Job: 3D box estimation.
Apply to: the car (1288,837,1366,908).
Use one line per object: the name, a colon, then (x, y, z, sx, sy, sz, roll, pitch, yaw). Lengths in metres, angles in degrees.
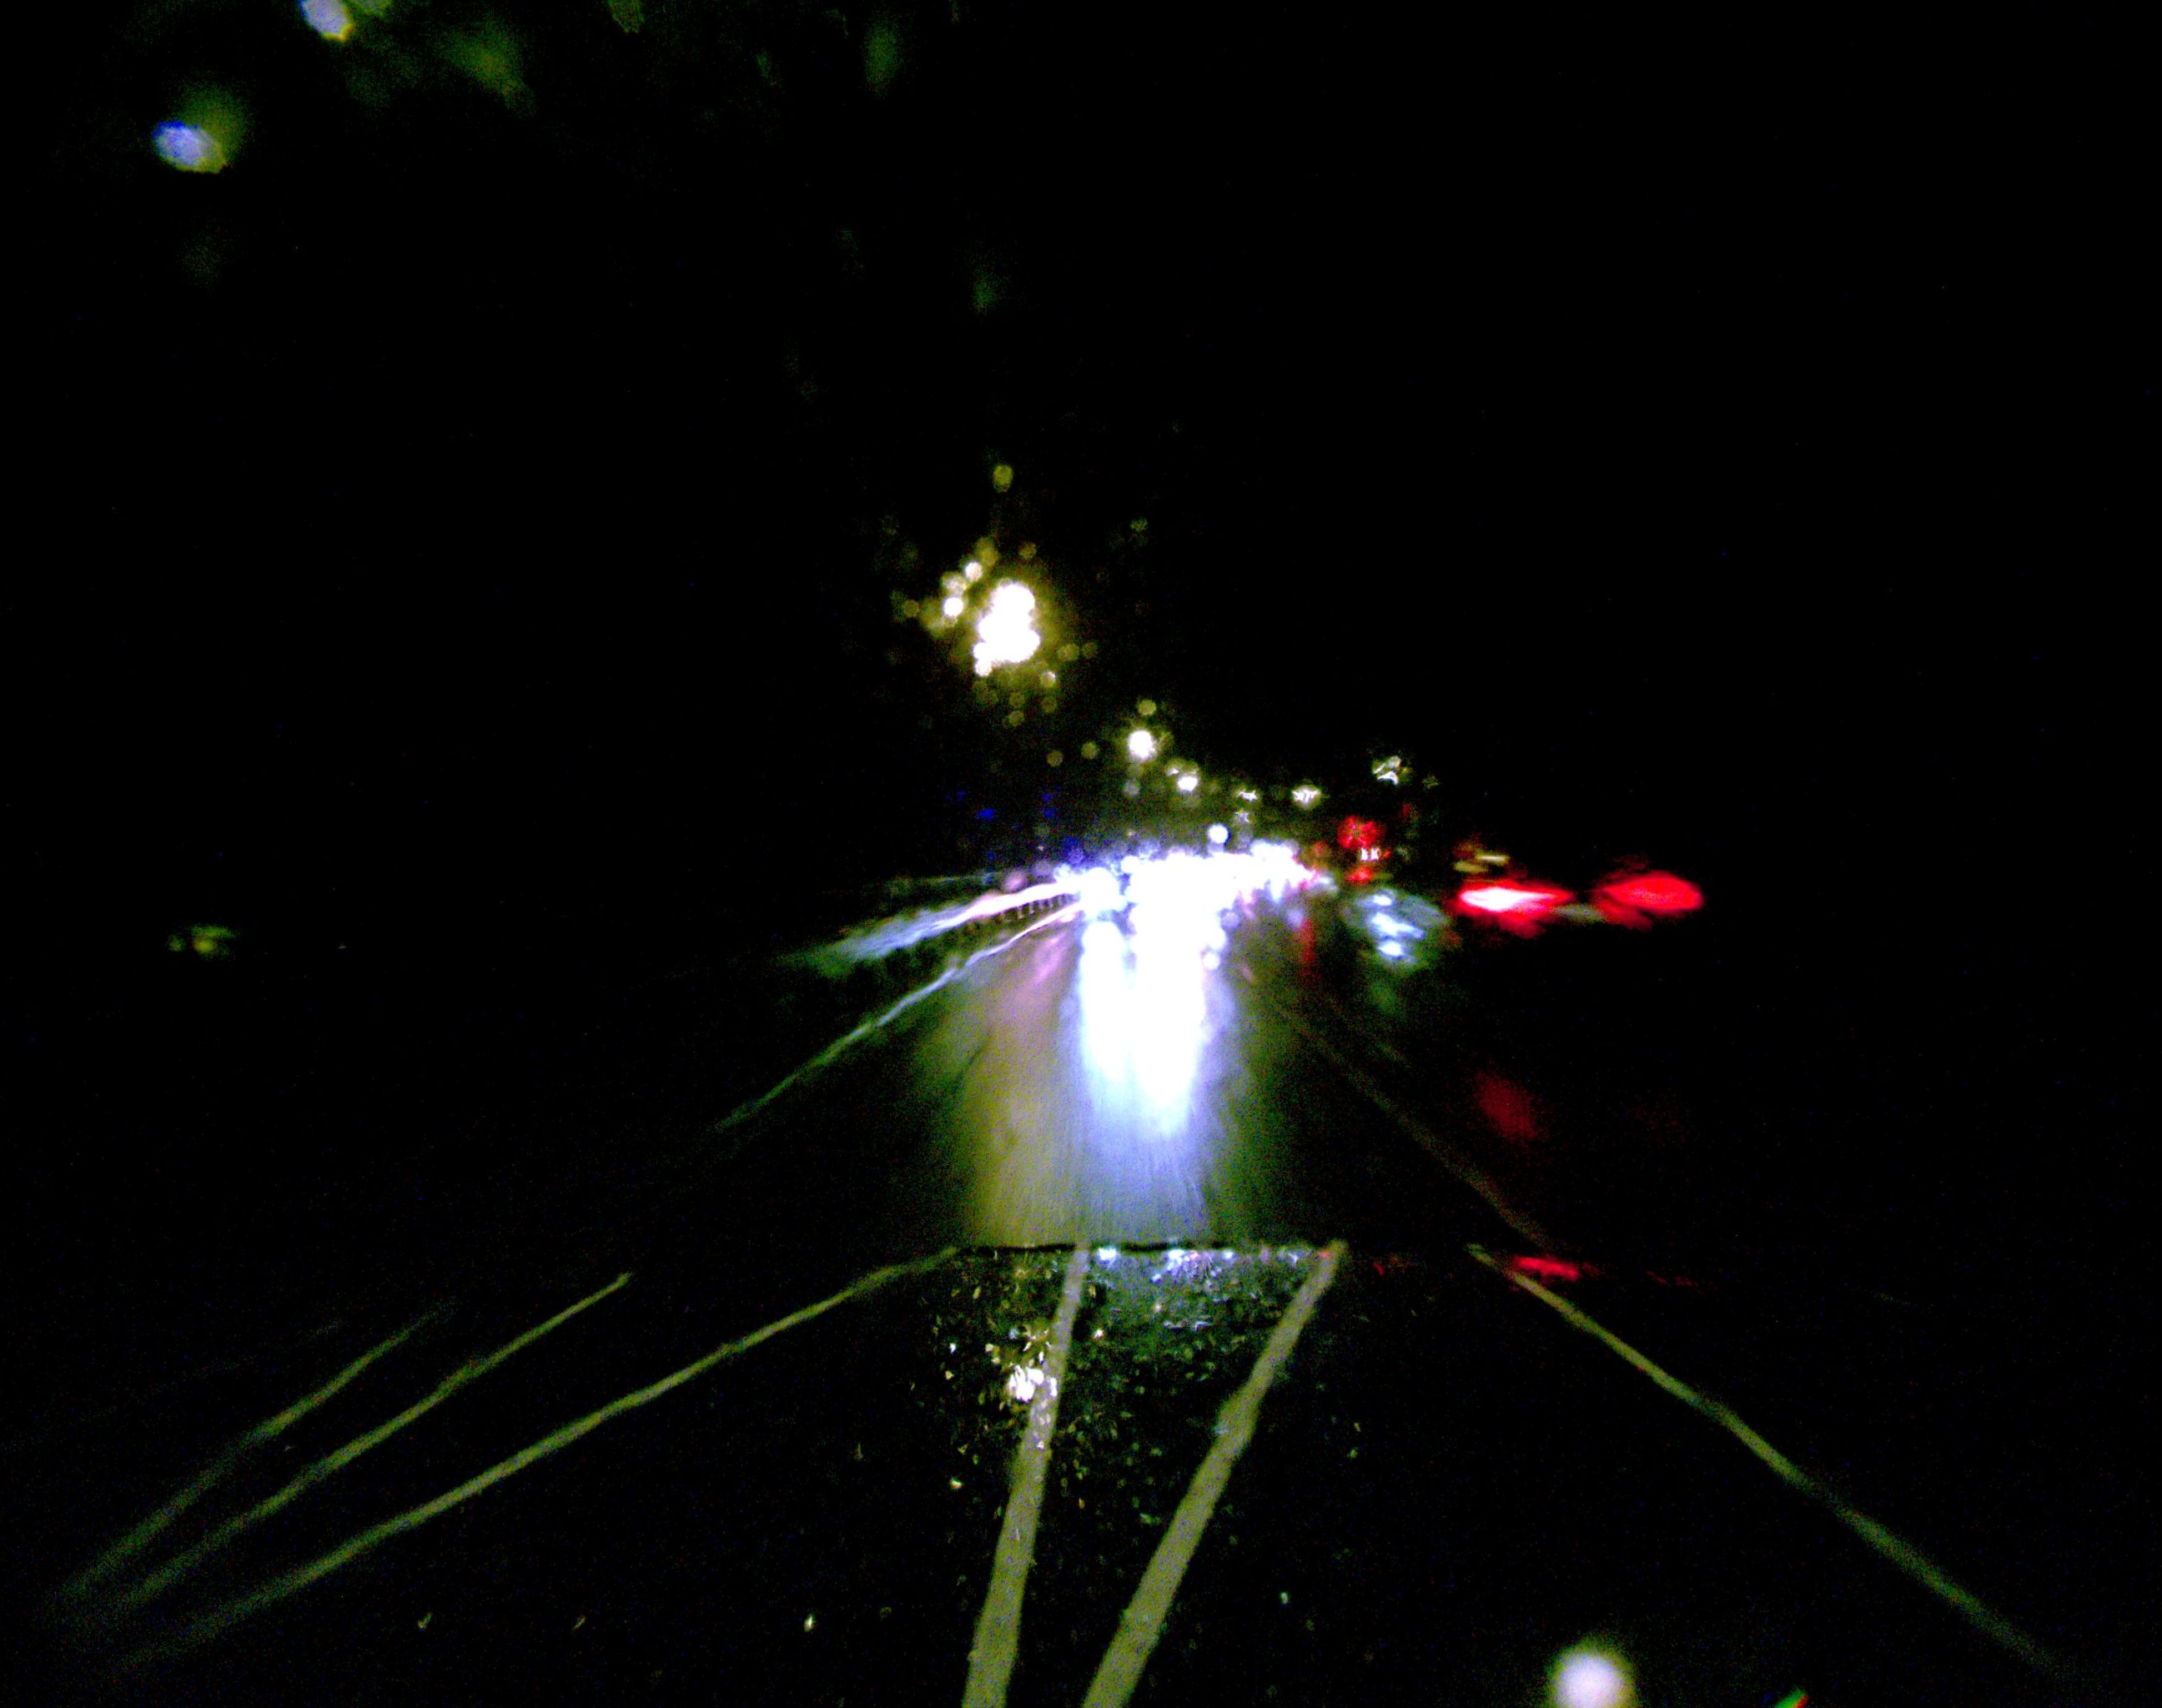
car: (6.988, 0.483, 21.935, 1.756, 1.850, 4.004, 0, 0, 12)

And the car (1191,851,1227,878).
car: (7.717, 0.608, 45.669, 1.520, 1.516, 3.111, -2, -1, 20)

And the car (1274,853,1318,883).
car: (10.645, 0.675, 37.835, 1.817, 1.396, 4.052, -1, 0, 12)

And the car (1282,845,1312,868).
car: (15.332, 0.157, 54.038, 1.685, 1.383, 4.454, -3, 1, 12)

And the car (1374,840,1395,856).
car: (31.556, -0.589, 78.992, 1.472, 1.575, 3.197, -2, -1, 32)

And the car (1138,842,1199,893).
car: (3.873, 0.521, 33.010, 1.996, 2.002, 4.004, -2, 1, 16)

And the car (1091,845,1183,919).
car: (1.576, 0.686, 19.698, 1.926, 1.704, 4.243, 0, -1, 10)

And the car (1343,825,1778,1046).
car: (4.614, 0.638, 8.470, 2.027, 1.709, 4.983, -2, 0, 5)

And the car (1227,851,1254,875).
car: (11.485, 0.626, 54.537, 1.303, 1.521, 3.050, -2, 2, 23)

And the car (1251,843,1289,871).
car: (17.452, 0.275, 70.003, 1.996, 2.002, 4.005, -8, 1, 31)
